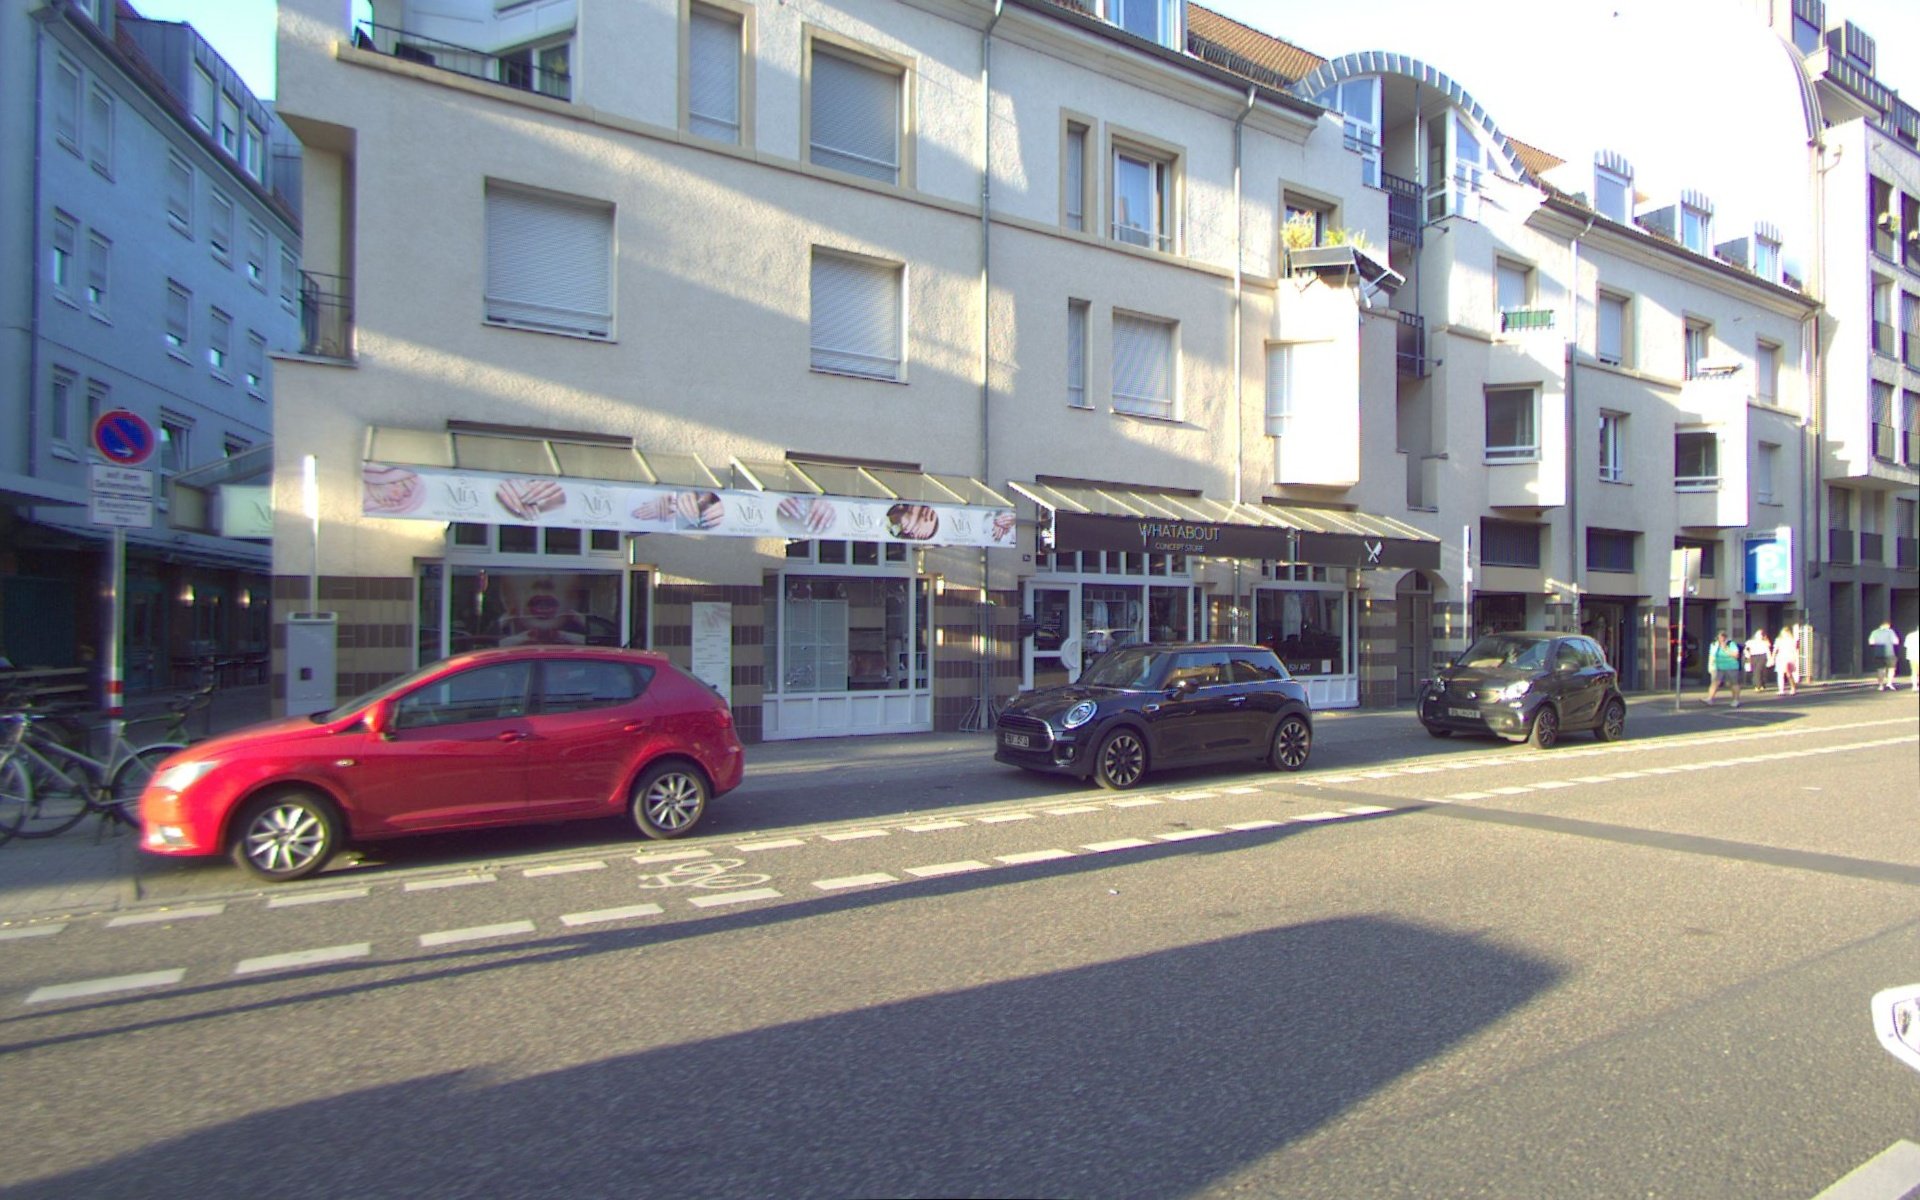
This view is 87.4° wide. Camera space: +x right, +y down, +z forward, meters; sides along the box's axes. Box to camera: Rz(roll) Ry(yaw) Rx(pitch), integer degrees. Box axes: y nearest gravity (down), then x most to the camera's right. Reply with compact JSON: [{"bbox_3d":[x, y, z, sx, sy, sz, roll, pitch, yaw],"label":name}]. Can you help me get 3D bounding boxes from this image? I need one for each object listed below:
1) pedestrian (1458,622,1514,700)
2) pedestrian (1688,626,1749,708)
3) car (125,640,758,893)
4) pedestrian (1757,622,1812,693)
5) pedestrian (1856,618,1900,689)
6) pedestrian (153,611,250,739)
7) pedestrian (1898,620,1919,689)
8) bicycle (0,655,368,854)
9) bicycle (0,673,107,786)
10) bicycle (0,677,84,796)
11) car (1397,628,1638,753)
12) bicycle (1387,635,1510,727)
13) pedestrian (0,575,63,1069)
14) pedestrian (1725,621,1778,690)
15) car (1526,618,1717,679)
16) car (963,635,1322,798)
[{"bbox_3d":[11.428,1.302,21.837,0.844,1.637,0.714,1,0,-27],"label":"pedestrian"},{"bbox_3d":[15.845,1.380,20.975,0.941,1.663,0.712,1,0,-33],"label":"pedestrian"},{"bbox_3d":[-3.657,1.052,7.609,3.839,1.421,1.652,2,0,-31],"label":"car"},{"bbox_3d":[19.844,1.380,24.186,0.844,1.663,0.714,1,0,-25],"label":"pedestrian"},{"bbox_3d":[23.738,1.374,25.986,0.688,1.790,0.711,1,0,-38],"label":"pedestrian"},{"bbox_3d":[-10.529,1.017,13.978,0.767,1.698,0.904,1,0,-16],"label":"pedestrian"},{"bbox_3d":[24.654,1.396,25.794,0.732,1.763,0.711,1,0,-38],"label":"pedestrian"},{"bbox_3d":[-6.367,1.119,7.724,3.092,1.317,0.953,2,0,-32],"label":"bicycle"},{"bbox_3d":[-9.285,1.212,9.332,1.991,1.005,0.487,1,0,-29],"label":"bicycle"},{"bbox_3d":[-9.070,1.216,8.823,1.993,1.005,0.487,1,0,-32],"label":"bicycle"},{"bbox_3d":[8.030,1.200,14.443,3.155,1.556,1.781,1,0,-33],"label":"car"},{"bbox_3d":[7.988,1.286,16.369,2.331,1.393,0.607,1,0,-31],"label":"bicycle"},{"bbox_3d":[-3.877,0.772,3.462,0.892,1.698,0.989,-3,-4,37],"label":"pedestrian"},{"bbox_3d":[19.592,1.371,24.871,0.843,1.663,0.714,1,0,-25],"label":"pedestrian"},{"bbox_3d":[20.005,1.407,30.593,1.974,1.623,4.479,1,0,-26],"label":"car"},{"bbox_3d":[2.050,1.162,11.121,3.681,1.473,1.703,1,0,-30],"label":"car"}]
